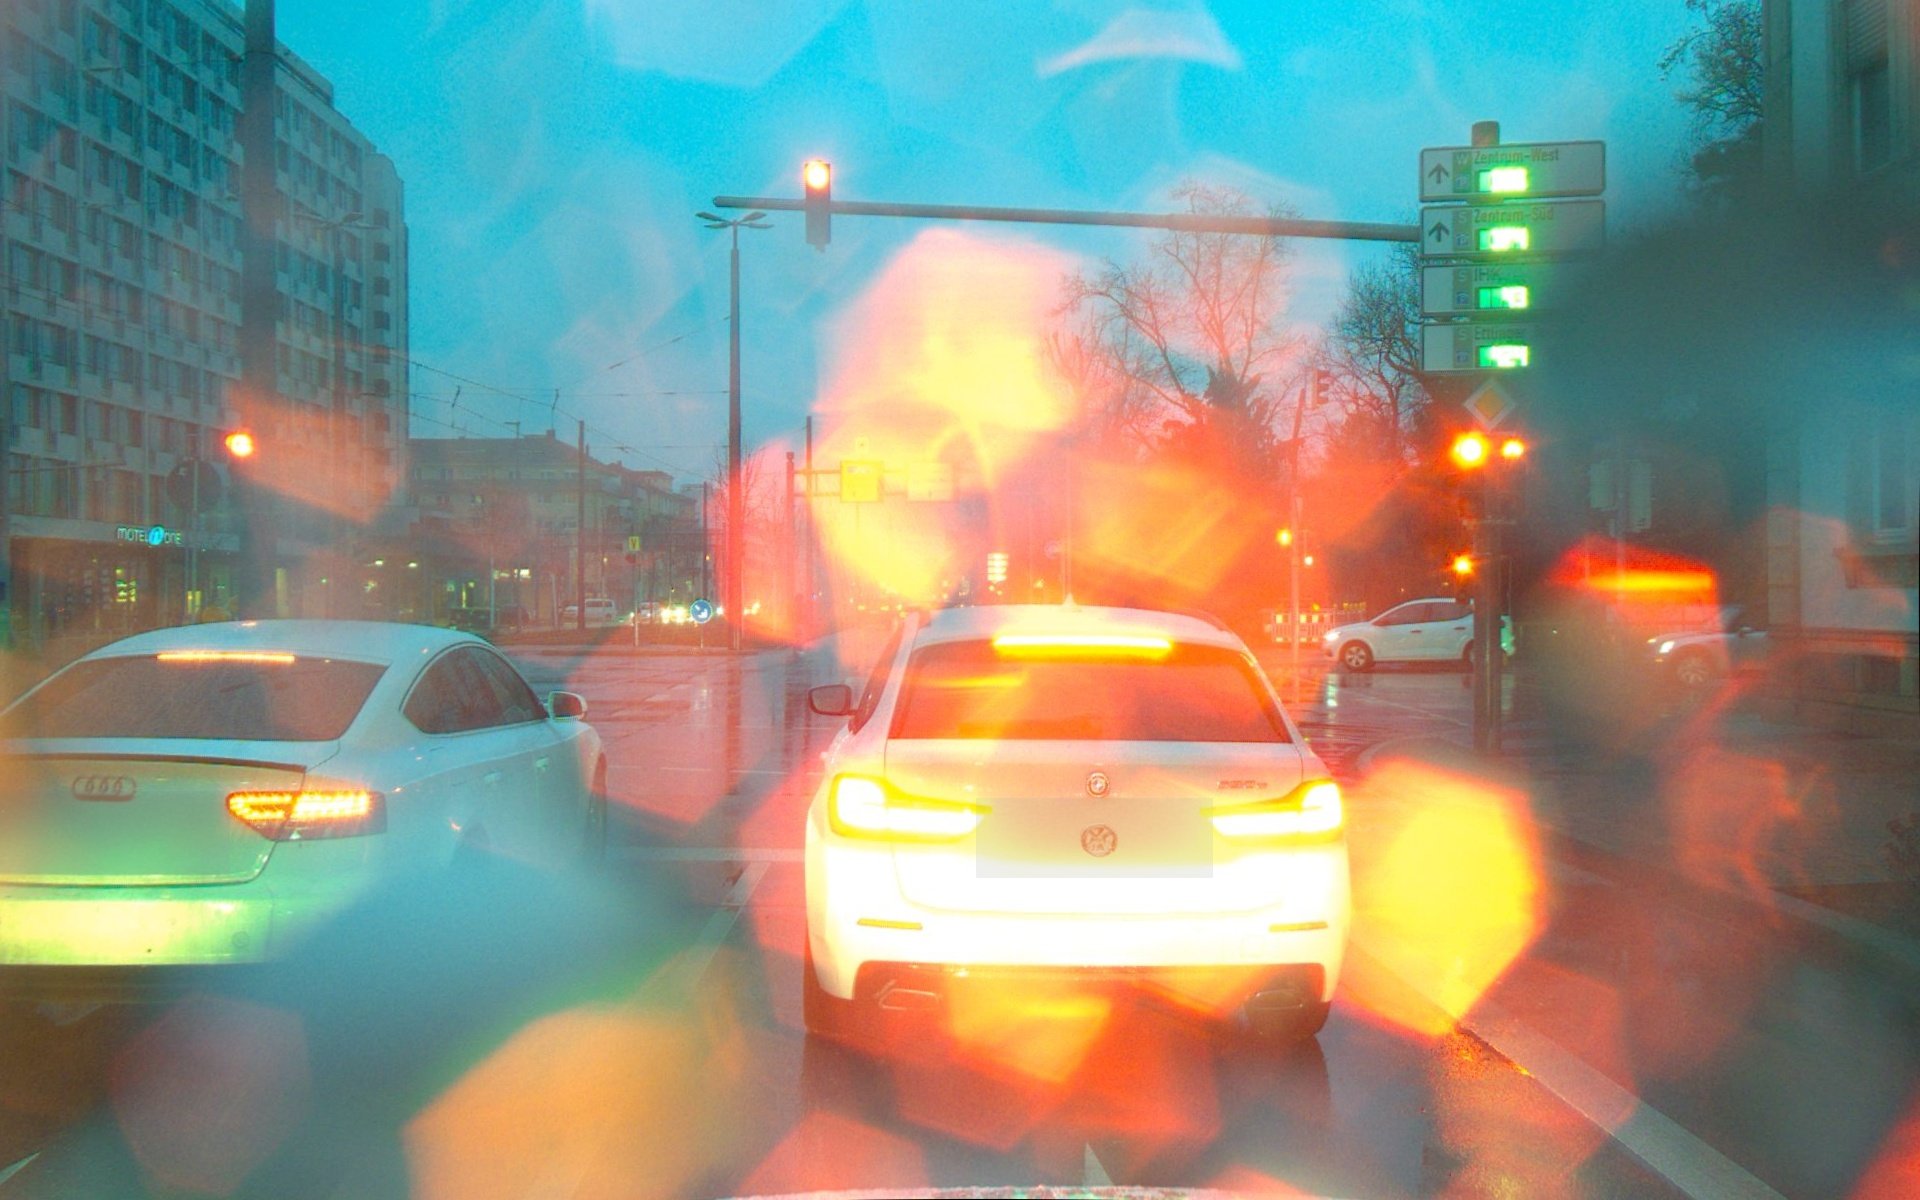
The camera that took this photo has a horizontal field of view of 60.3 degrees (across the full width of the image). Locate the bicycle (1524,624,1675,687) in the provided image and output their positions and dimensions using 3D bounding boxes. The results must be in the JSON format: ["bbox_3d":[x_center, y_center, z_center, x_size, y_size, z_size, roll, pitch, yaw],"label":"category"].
[{"bbox_3d":[12.202,1.047,31.656,2.610,1.108,0.815,1,-1,15],"label":"bicycle"}]

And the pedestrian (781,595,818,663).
[{"bbox_3d":[-4.524,0.810,46.542,0.887,1.888,0.809,2,-1,-13],"label":"pedestrian"}]

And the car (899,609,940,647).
[{"bbox_3d":[-1.845,1.272,75.040,1.806,1.637,3.943,1,-1,-2],"label":"car"}]

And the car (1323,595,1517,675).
[{"bbox_3d":[9.872,0.737,35.490,3.873,1.581,1.749,1,-1,20],"label":"car"}]

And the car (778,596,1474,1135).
[{"bbox_3d":[0.377,0.738,6.816,1.954,1.481,4.366,0,0,-3],"label":"car"}]

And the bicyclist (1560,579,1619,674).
[{"bbox_3d":[12.061,0.505,31.696,0.951,1.789,0.814,1,-1,15],"label":"bicyclist"}]

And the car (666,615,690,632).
[{"bbox_3d":[-27.185,2.255,159.475,1.641,1.534,3.695,1,-1,-1],"label":"car"}]

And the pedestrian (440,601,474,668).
[{"bbox_3d":[-13.415,0.916,44.134,0.777,1.741,0.809,2,-1,-16],"label":"pedestrian"}]

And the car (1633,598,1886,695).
[{"bbox_3d":[13.596,0.780,28.319,3.609,1.504,1.630,1,-1,12],"label":"car"}]

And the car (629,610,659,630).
[{"bbox_3d":[-24.531,1.550,128.437,1.641,1.534,3.695,1,-1,-1],"label":"car"}]

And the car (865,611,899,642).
[{"bbox_3d":[-4.261,1.453,90.588,1.806,1.637,3.943,1,-1,-2],"label":"car"}]

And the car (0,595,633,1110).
[{"bbox_3d":[-2.704,0.729,6.987,1.954,1.481,4.366,0,0,-3],"label":"car"}]
